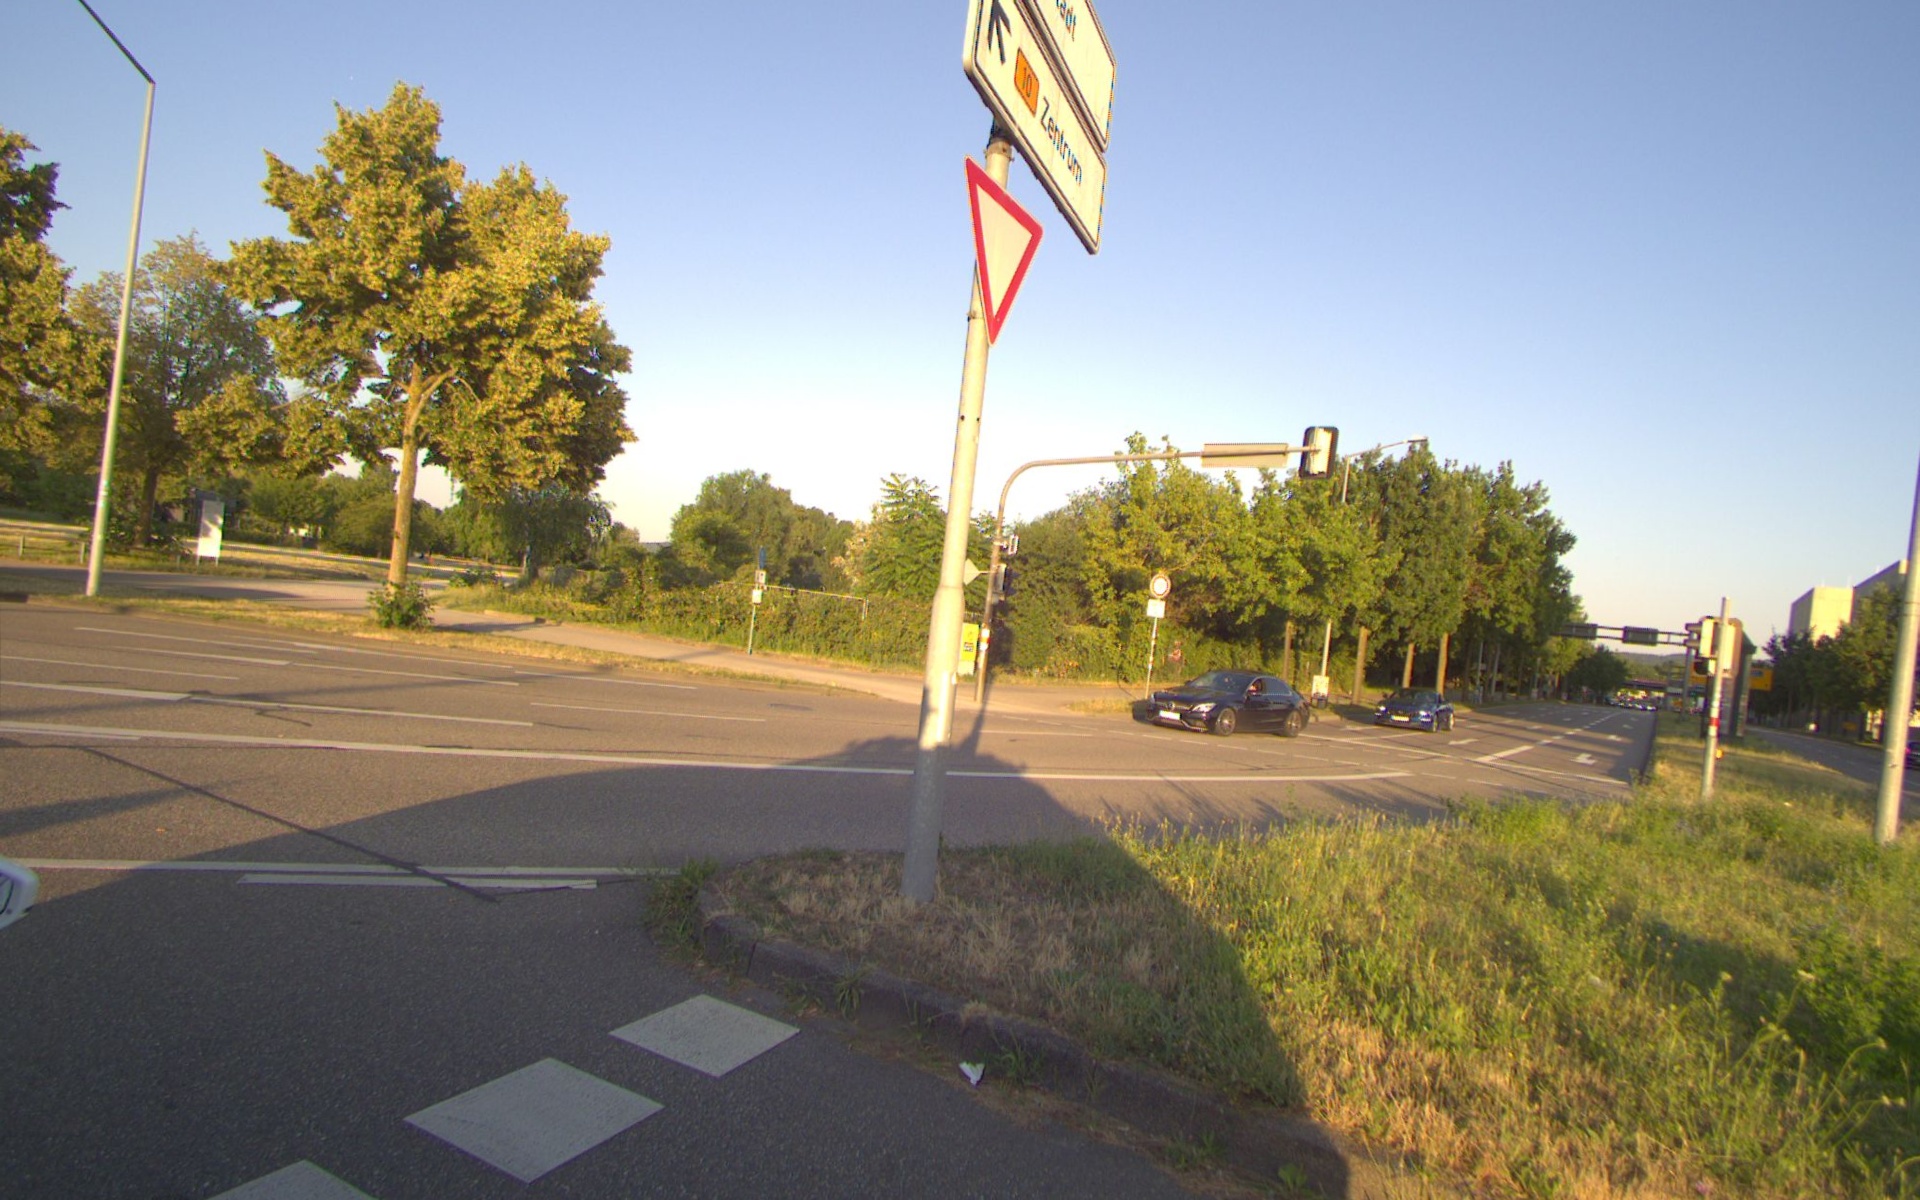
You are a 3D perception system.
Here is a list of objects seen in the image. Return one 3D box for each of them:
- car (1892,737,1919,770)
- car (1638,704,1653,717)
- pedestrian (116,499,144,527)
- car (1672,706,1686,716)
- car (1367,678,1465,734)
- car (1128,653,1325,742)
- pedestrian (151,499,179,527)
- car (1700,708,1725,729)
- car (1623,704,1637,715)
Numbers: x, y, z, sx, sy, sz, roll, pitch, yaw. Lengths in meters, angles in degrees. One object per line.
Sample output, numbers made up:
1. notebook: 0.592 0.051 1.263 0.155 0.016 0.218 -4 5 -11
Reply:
1. car: 48.389 7.792 50.662 1.725 1.396 4.110 7 -1 39
2. car: 123.601 19.876 181.319 1.969 2.037 3.991 6 -2 35
3. pedestrian: -53.392 -5.586 64.710 0.896 1.637 1.070 7 0 34
4. car: 144.171 22.332 201.844 1.968 1.648 3.991 6 -1 33
5. car: 15.493 3.578 34.027 1.969 1.523 4.757 7 -1 36
6. car: 6.077 2.230 22.647 4.591 1.522 1.977 9 -3 -42
7. pedestrian: -51.908 -5.665 65.670 0.896 1.637 1.070 7 0 34
8. car: 82.483 12.964 110.286 1.970 2.038 3.986 7 -1 38
9. car: 127.349 20.764 191.205 1.967 1.801 3.994 6 -2 32
